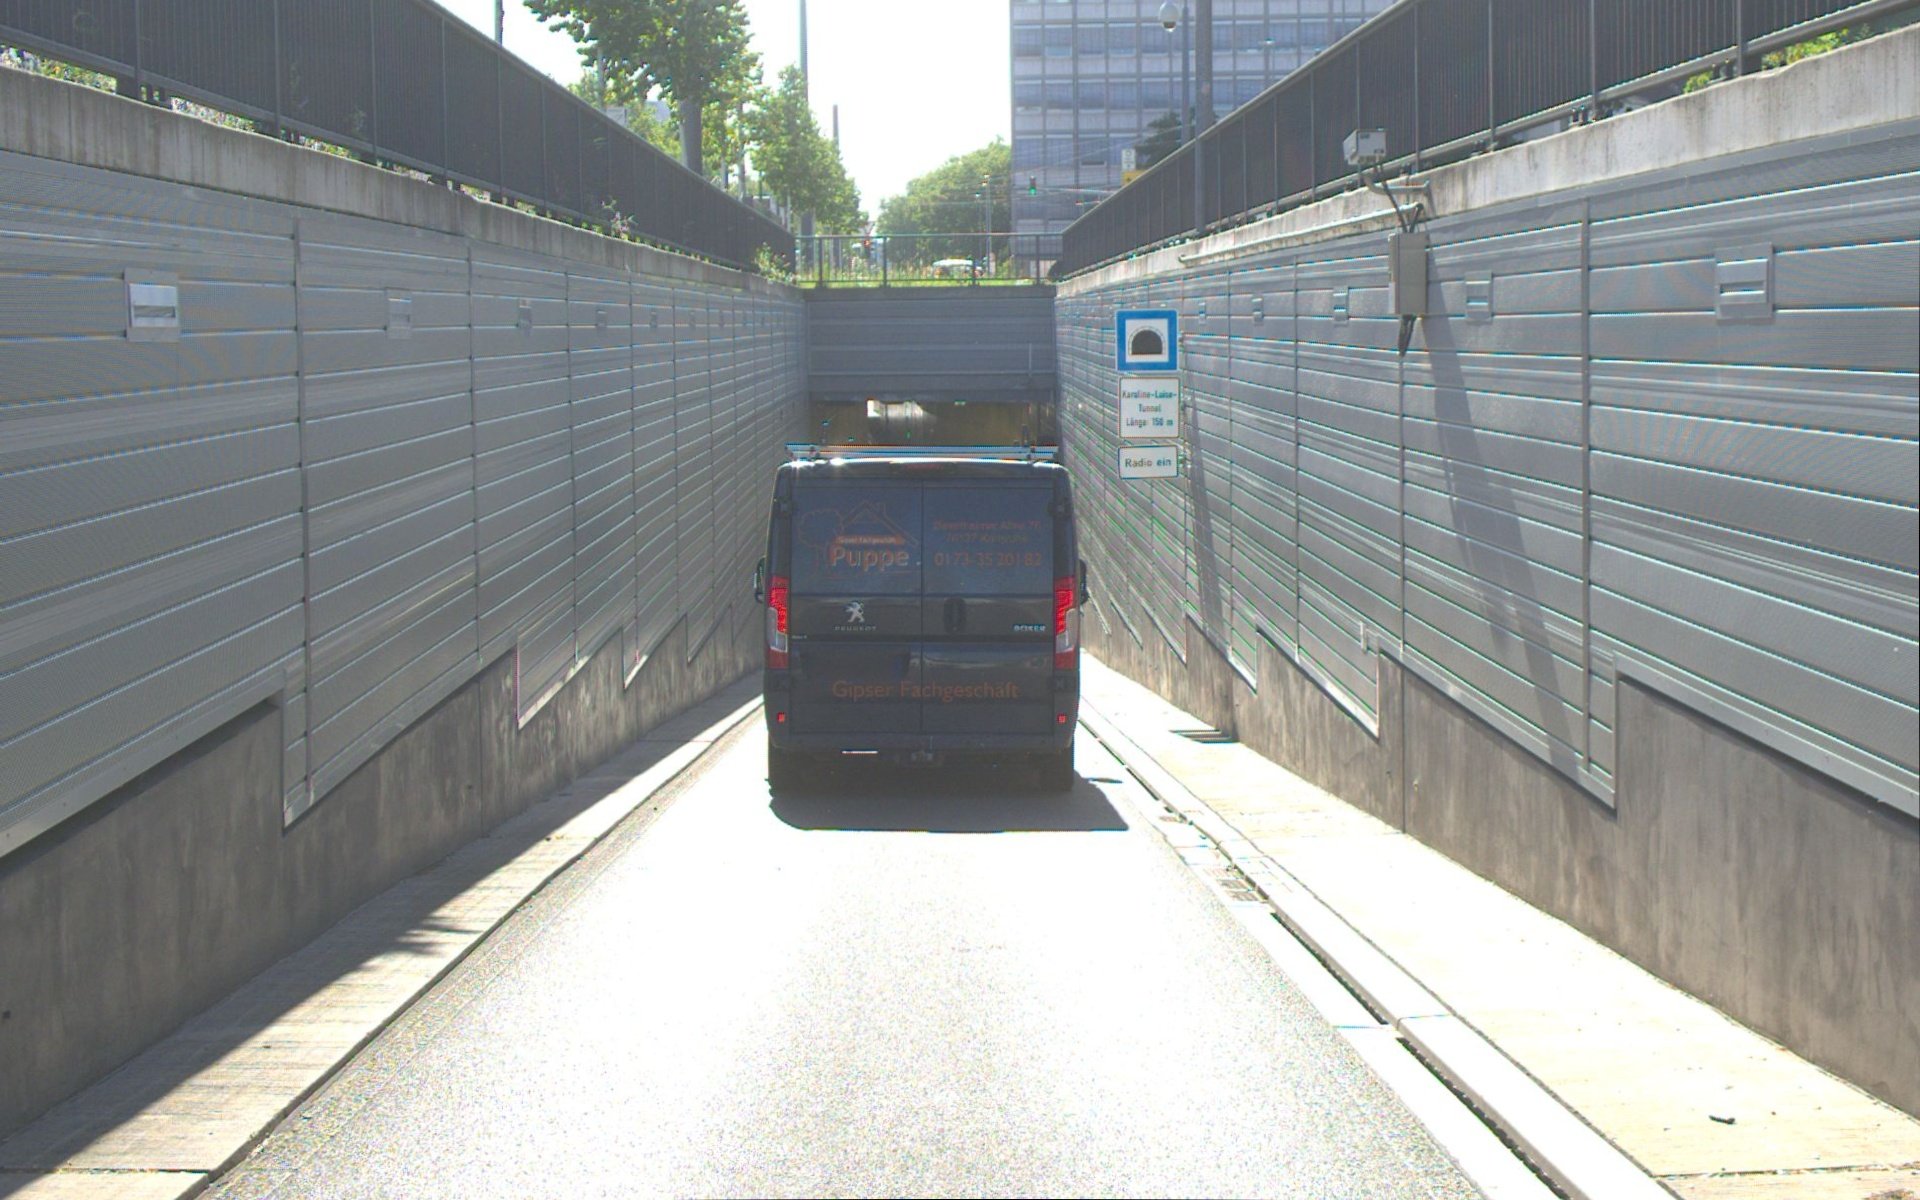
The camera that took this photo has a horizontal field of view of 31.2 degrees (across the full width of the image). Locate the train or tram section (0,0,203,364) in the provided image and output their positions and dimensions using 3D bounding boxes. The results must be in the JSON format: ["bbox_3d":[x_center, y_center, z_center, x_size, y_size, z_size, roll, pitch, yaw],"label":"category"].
[{"bbox_3d":[-9.501,-4.064,31.027,2.610,3.807,13.094,1,4,-1],"label":"train or tram section"}]

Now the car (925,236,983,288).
[{"bbox_3d":[-0.209,-10.872,110.717,1.740,1.556,4.001,0,4,-2],"label":"car"}]

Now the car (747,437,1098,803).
[{"bbox_3d":[-0.229,0.094,23.893,2.158,2.258,4.637,1,1,0],"label":"car"}]

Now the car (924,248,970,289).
[{"bbox_3d":[-0.549,-13.344,138.397,1.740,1.556,4.001,0,4,-2],"label":"car"}]
